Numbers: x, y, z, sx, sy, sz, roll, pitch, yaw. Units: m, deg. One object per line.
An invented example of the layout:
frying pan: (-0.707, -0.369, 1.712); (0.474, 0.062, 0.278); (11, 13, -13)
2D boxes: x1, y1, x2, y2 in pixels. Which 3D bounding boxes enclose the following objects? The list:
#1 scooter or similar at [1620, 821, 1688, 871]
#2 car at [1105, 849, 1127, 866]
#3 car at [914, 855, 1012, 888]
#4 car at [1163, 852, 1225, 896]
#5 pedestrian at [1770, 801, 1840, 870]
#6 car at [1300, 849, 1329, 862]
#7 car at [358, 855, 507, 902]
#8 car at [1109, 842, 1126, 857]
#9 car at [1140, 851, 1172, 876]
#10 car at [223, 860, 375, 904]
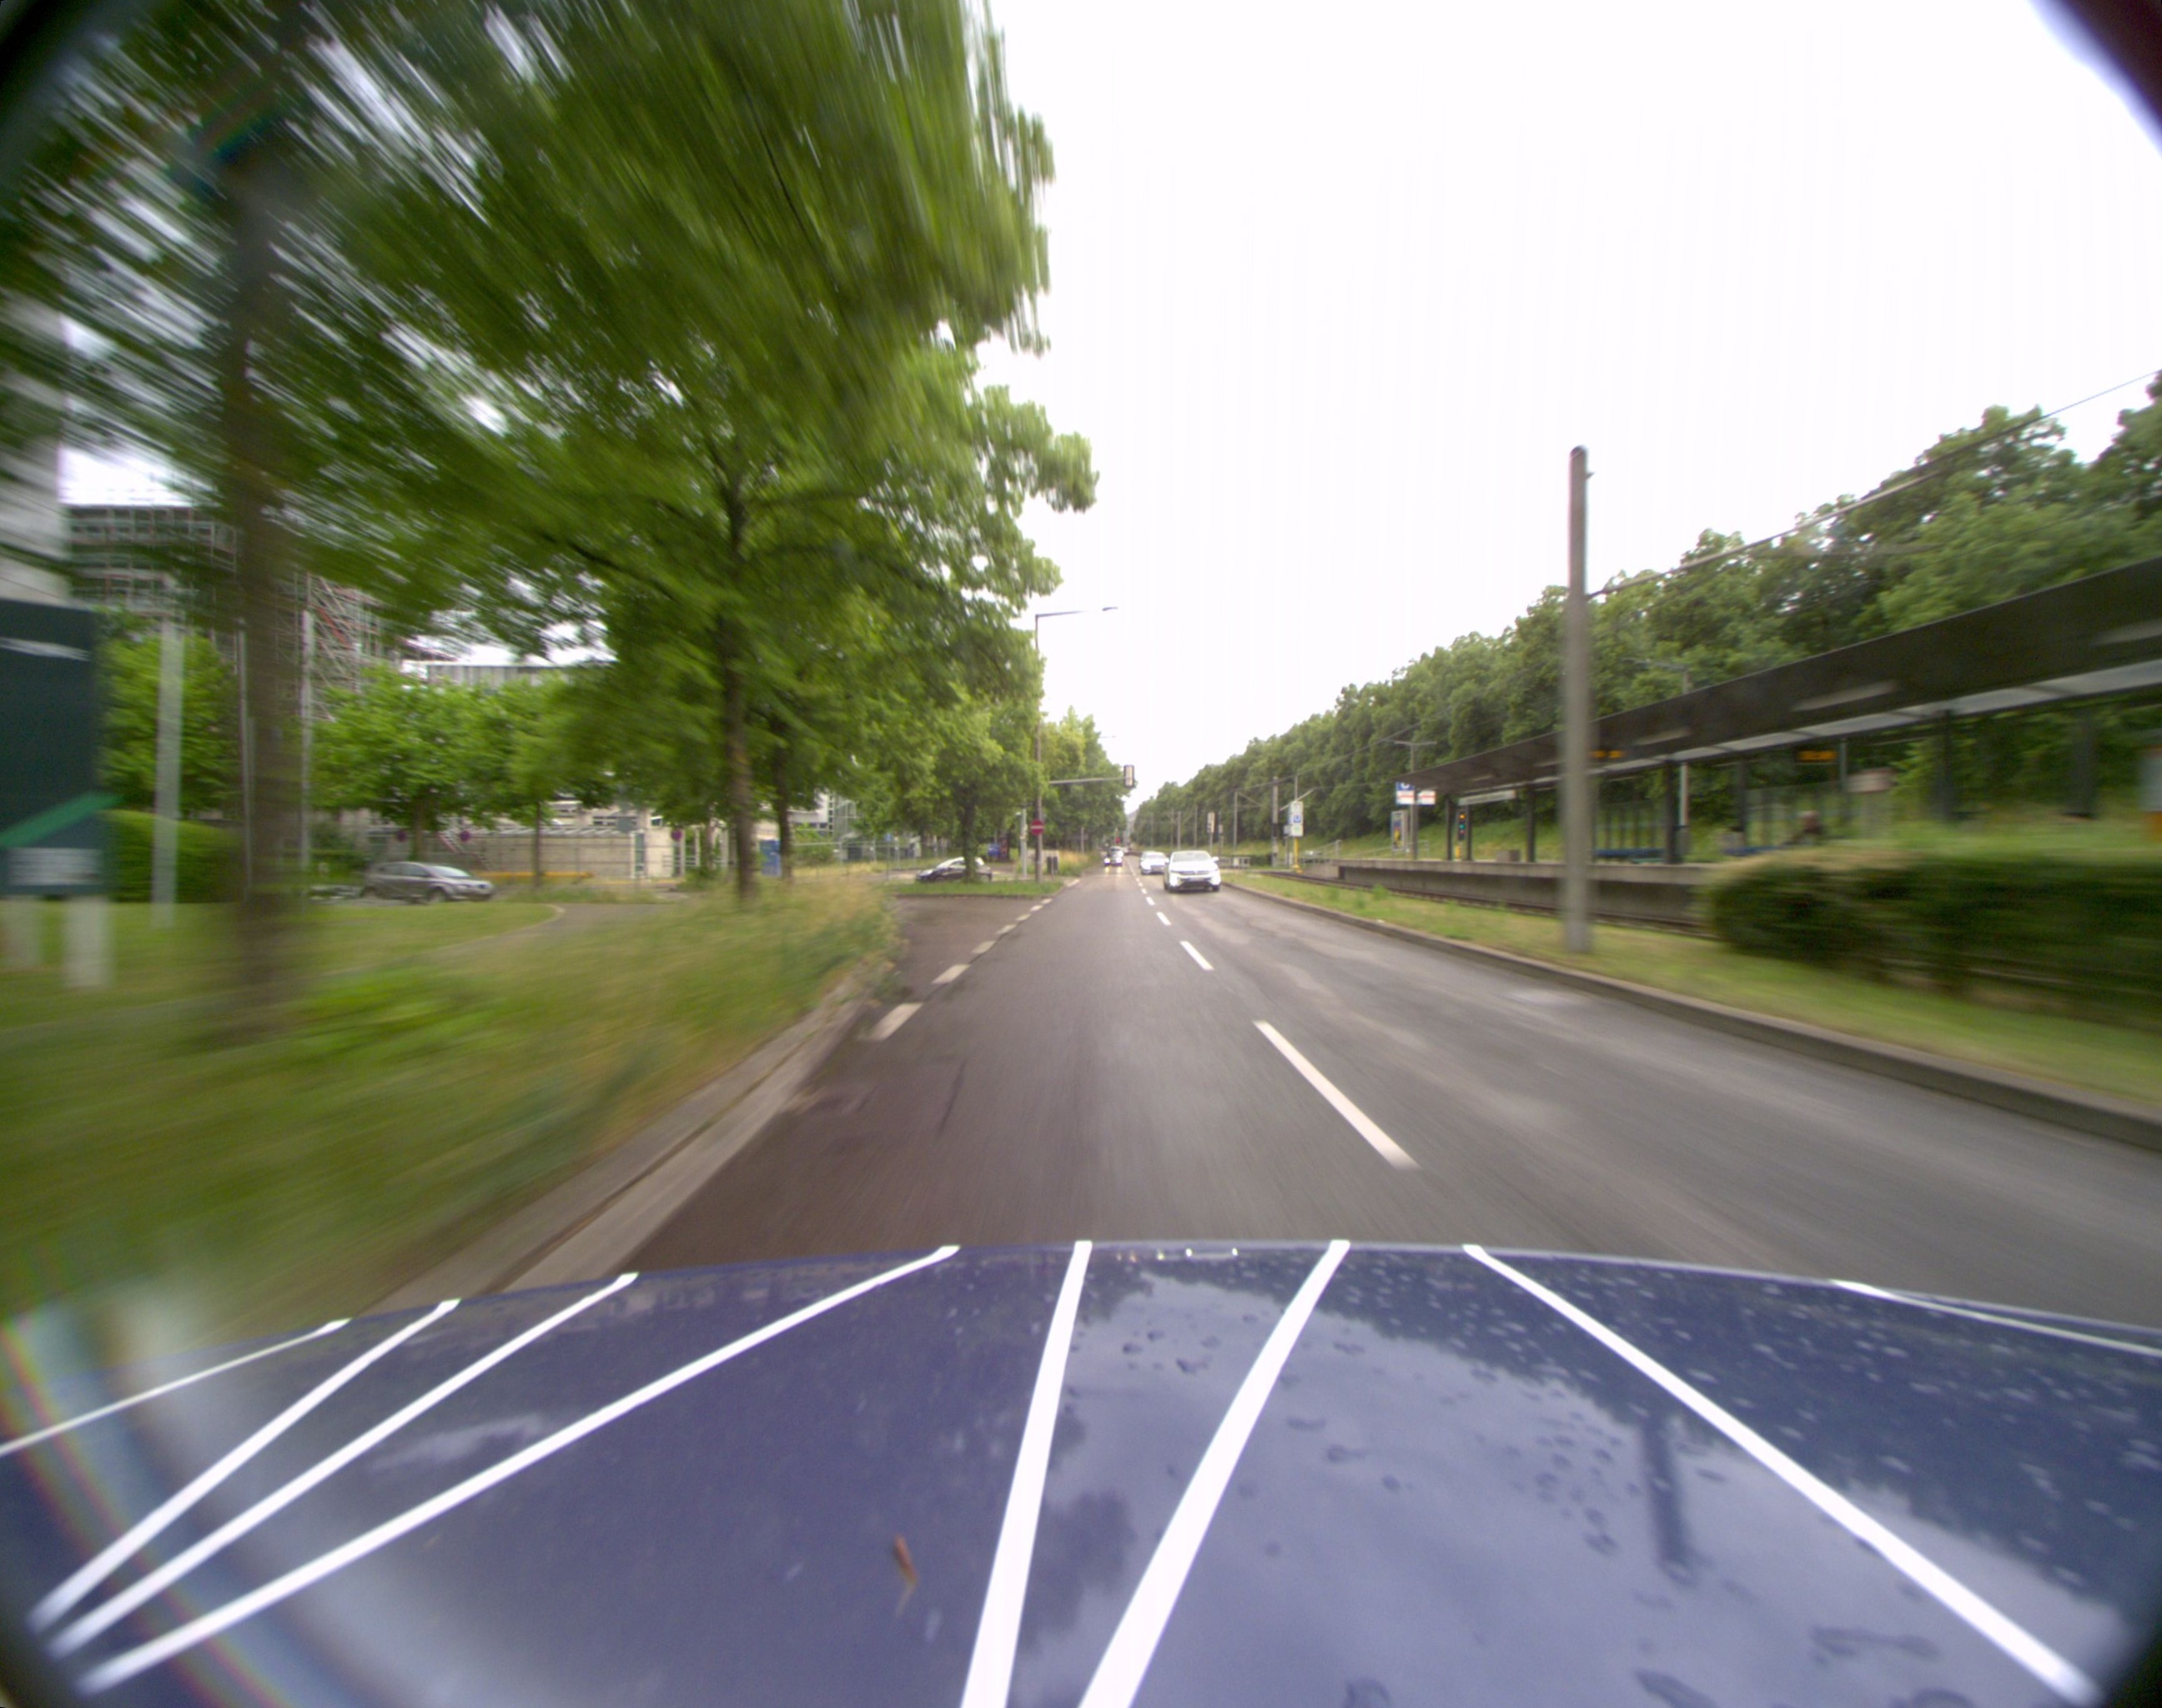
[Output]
scooter or similar: (14.332, -0.187, 19.029); (0.380, 1.211, 1.297); (-4, 2, -44)
car: (3.394, 0.329, 73.402); (1.960, 1.469, 4.700); (-3, 1, 4)
car: (-5.792, 0.809, 37.450); (4.436, 1.425, 1.707); (-1, 1, -32)
car: (4.146, 0.679, 28.493); (1.959, 1.457, 4.700); (-1, 1, 4)
pedestrian: (14.560, -0.373, 15.292); (0.755, 1.348, 0.692); (-1, 1, -1)
car: (25.101, 0.134, 81.768); (1.800, 1.395, 3.998); (-1, 1, -3)
car: (-23.283, 0.894, 27.345); (4.104, 1.632, 1.759); (0, -1, 8)
car: (5.122, -0.624, 107.484); (1.960, 1.914, 4.844); (-3, 1, -1)
car: (4.957, 0.598, 50.536); (1.959, 1.472, 4.700); (-3, 1, 5)
car: (-28.546, 1.019, 27.784); (4.104, 1.569, 1.759); (0, -1, 8)
